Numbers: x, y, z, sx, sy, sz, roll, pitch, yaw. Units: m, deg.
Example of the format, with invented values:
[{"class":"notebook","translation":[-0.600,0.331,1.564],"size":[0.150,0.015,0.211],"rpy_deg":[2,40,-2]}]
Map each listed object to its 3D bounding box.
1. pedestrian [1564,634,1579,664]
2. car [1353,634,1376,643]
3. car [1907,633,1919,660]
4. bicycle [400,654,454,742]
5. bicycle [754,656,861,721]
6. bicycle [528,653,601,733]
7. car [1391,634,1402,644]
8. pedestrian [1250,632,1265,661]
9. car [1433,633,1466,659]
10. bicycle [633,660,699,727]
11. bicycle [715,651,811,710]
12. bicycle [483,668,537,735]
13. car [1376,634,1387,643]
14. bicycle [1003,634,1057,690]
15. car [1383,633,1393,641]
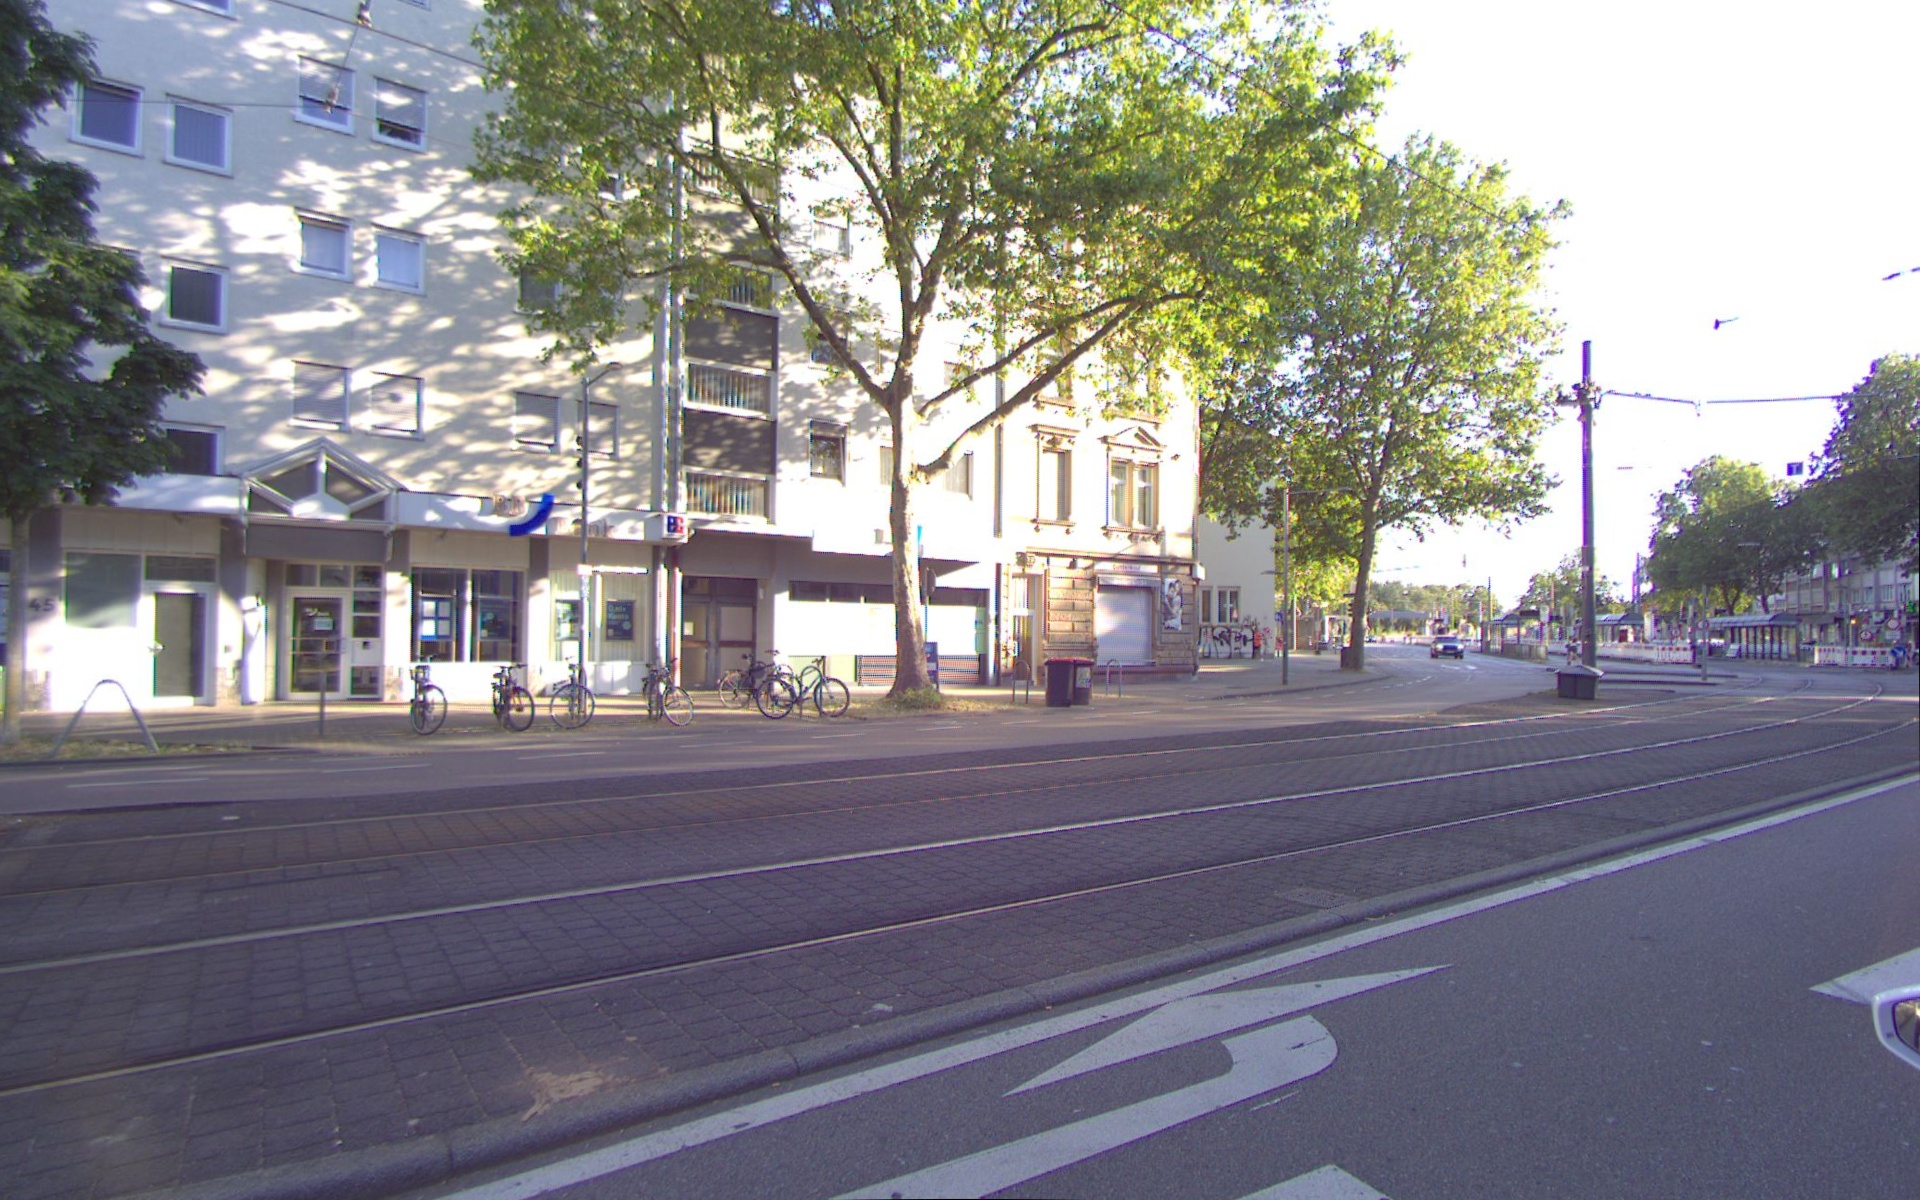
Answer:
[{"class":"pedestrian","translation":[34.578,2.770,56.822],"size":[0.645,1.678,0.444],"rpy_deg":[0,-2,18]},{"class":"car","translation":[78.242,7.379,194.272],"size":[3.919,1.661,1.792],"rpy_deg":[0,-2,13]},{"class":"car","translation":[64.466,3.107,65.840],"size":[1.960,1.815,4.000],"rpy_deg":[2,-1,20]},{"class":"bicycle","translation":[-7.843,1.402,14.746],"size":[0.506,1.153,1.729],"rpy_deg":[2,-1,-34]},{"class":"bicycle","translation":[-2.737,1.573,18.107],"size":[1.800,1.091,0.649],"rpy_deg":[2,-2,-29]},{"class":"bicycle","translation":[-6.347,1.451,16.086],"size":[0.724,1.128,1.729],"rpy_deg":[2,-1,-34]},{"class":"car","translation":[78.776,7.036,181.335],"size":[1.814,1.706,3.715],"rpy_deg":[-2,-2,23]},{"class":"pedestrian","translation":[16.204,2.527,54.736],"size":[0.599,1.533,0.493],"rpy_deg":[0,-1,-6]},{"class":"car","translation":[32.971,3.106,67.697],"size":[1.962,1.661,3.997],"rpy_deg":[0,-2,25]},{"class":"bicycle","translation":[-5.034,1.570,17.120],"size":[0.584,1.002,1.729],"rpy_deg":[2,-1,-34]},{"class":"bicycle","translation":[-3.917,1.584,20.007],"size":[1.777,1.132,0.617],"rpy_deg":[2,-2,-29]},{"class":"bicycle","translation":[-7.031,1.550,15.669],"size":[0.467,0.900,1.729],"rpy_deg":[2,-1,-34]},{"class":"car","translation":[79.456,7.200,189.317],"size":[1.814,1.706,3.716],"rpy_deg":[0,-2,23]},{"class":"bicycle","translation":[1.888,1.677,27.395],"size":[0.469,1.430,1.956],"rpy_deg":[1,-1,-29]},{"class":"car","translation":[89.575,7.747,210.266],"size":[1.814,1.706,3.716],"rpy_deg":[0,-2,23]}]
